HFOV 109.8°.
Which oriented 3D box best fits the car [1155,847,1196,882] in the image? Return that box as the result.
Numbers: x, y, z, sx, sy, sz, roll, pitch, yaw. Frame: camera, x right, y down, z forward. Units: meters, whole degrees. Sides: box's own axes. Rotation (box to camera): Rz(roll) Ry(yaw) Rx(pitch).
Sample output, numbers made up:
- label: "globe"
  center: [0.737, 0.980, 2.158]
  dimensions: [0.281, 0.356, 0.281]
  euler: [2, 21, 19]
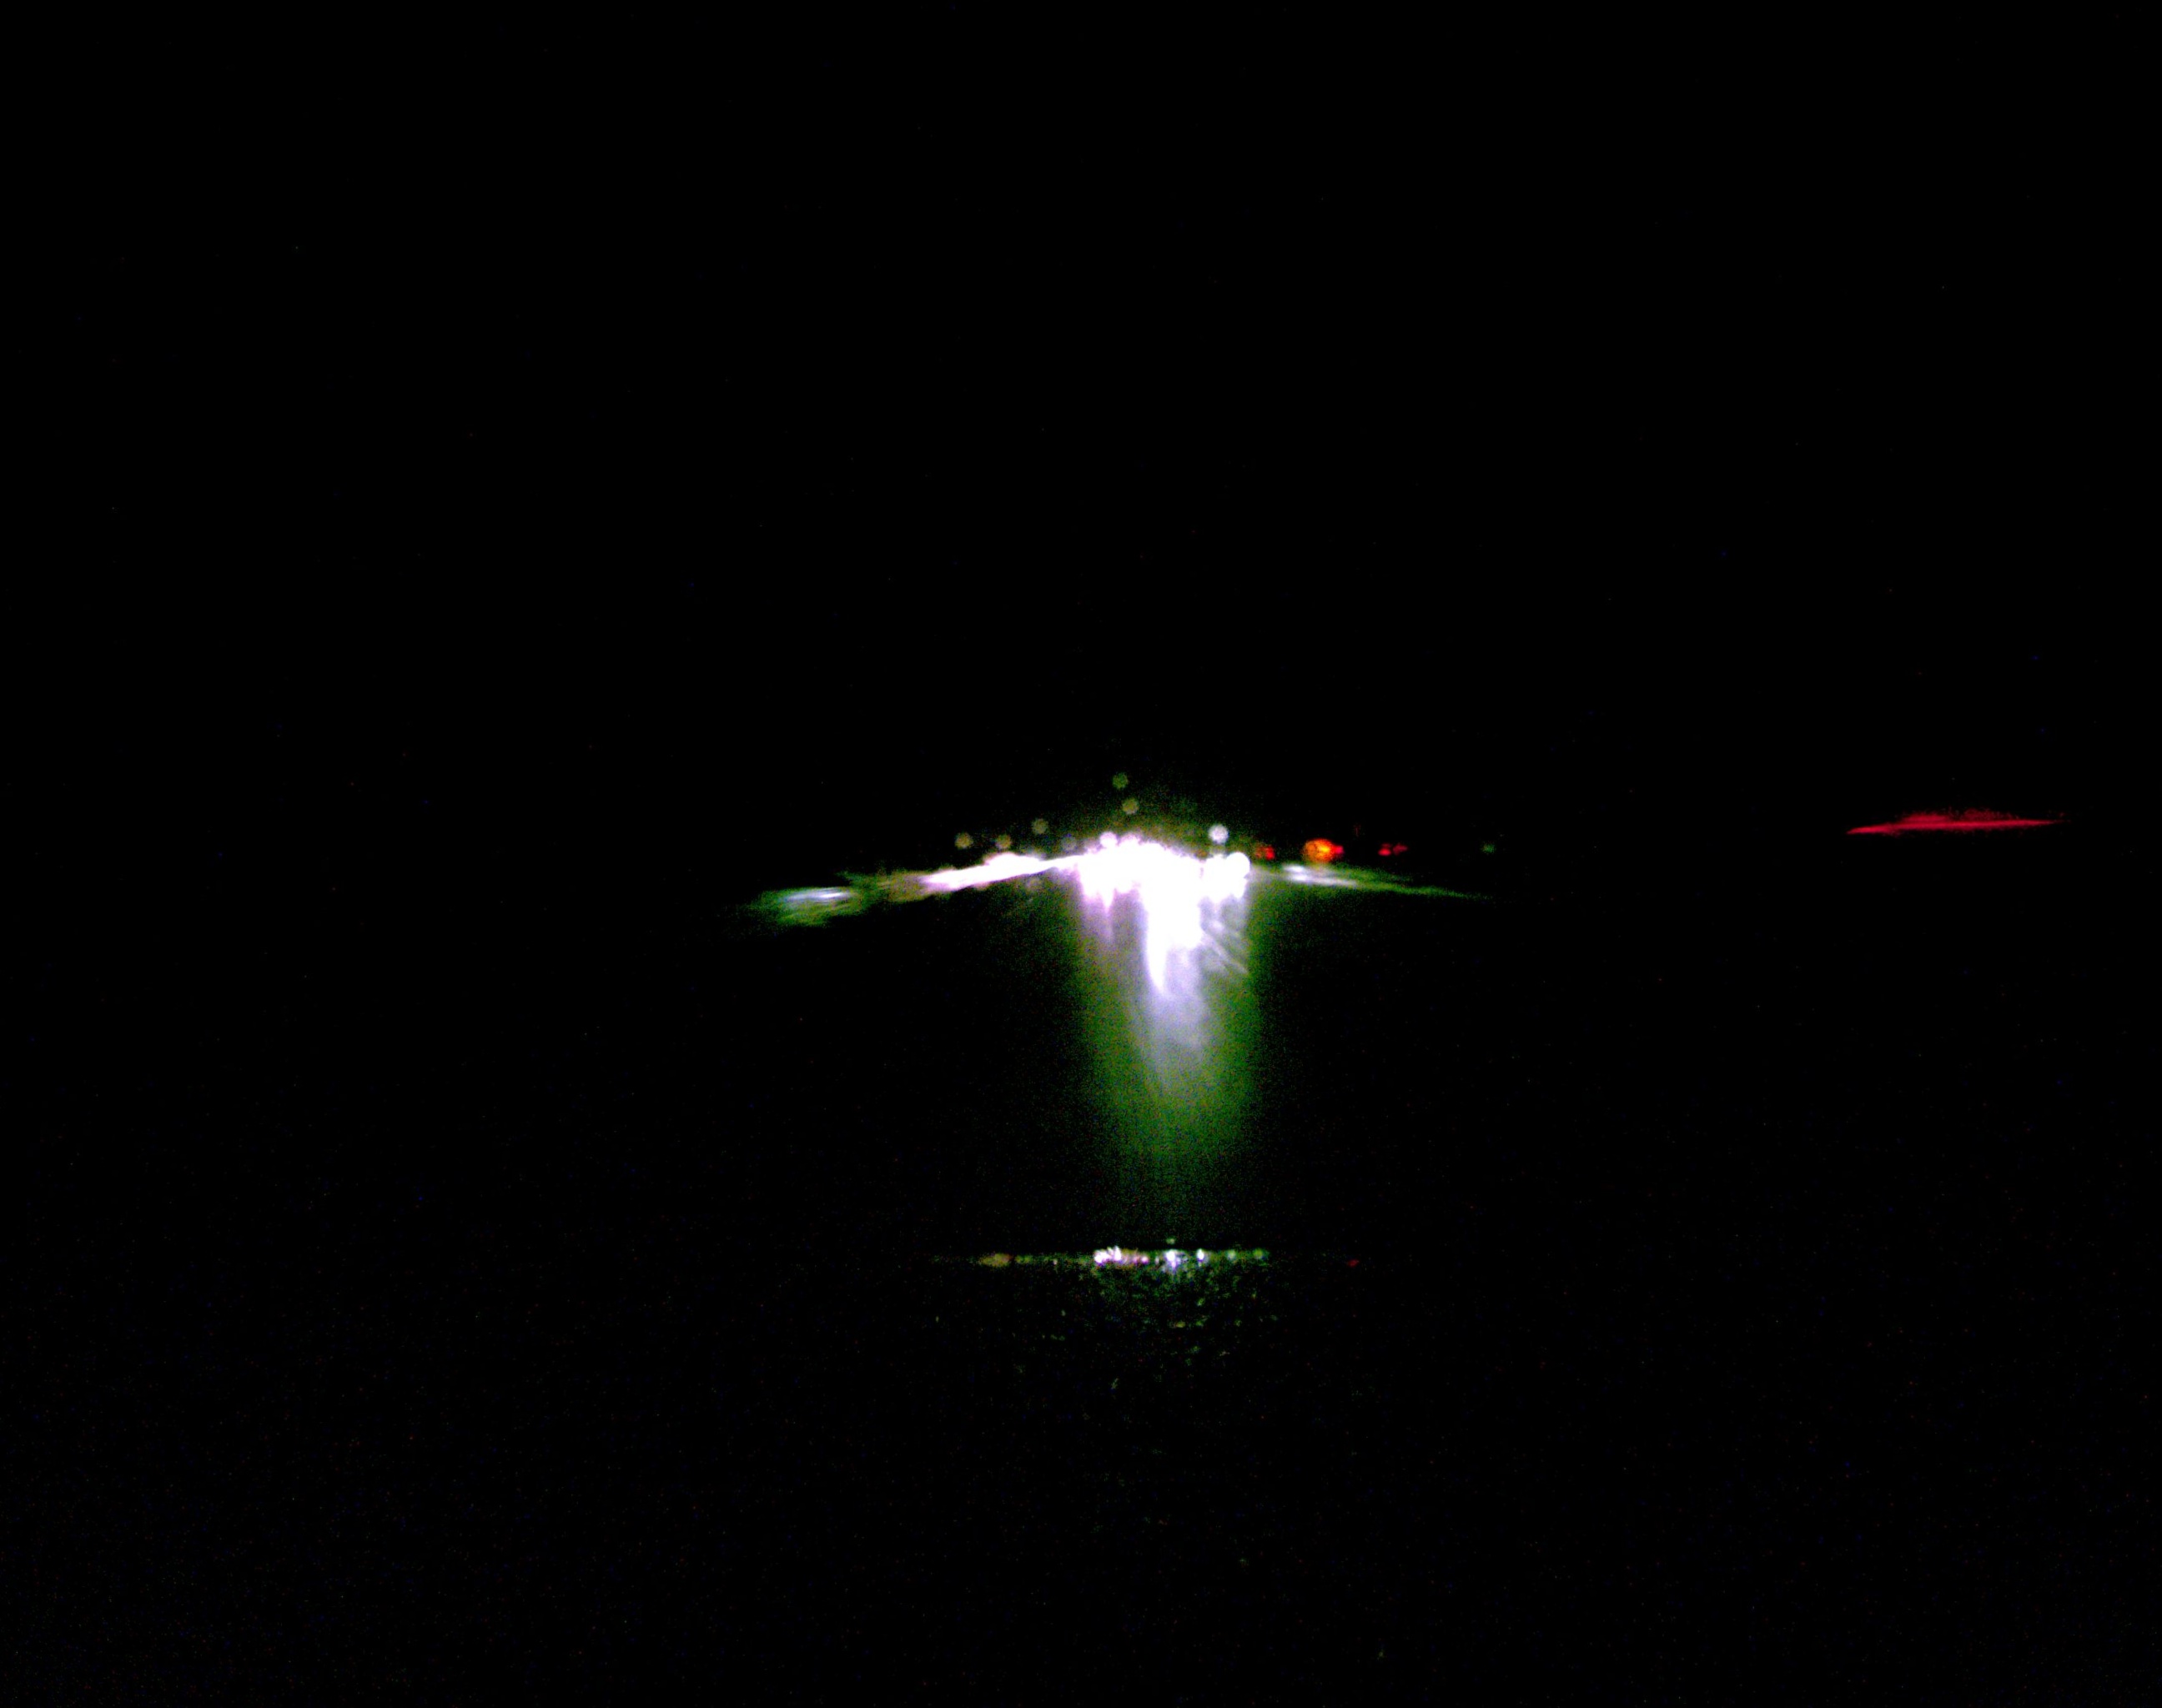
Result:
- label: "car"
  center: [4.987, 0.523, 40.402]
  dimensions: [1.998, 1.667, 4.001]
  euler: [-2, 1, 6]

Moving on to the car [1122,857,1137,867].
- label: "car"
  center: [6.199, 1.015, 97.117]
  dimensions: [1.693, 1.149, 3.420]
  euler: [-3, 1, 2]

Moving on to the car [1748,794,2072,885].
- label: "car"
  center: [15.913, -0.266, 14.976]
  dimensions: [1.977, 1.456, 3.999]
  euler: [-3, 1, -1]

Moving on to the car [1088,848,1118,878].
- label: "car"
  center: [1.681, 0.637, 56.720]
  dimensions: [1.998, 2.002, 4.000]
  euler: [-2, 1, 3]

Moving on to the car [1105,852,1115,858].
- label: "car"
  center: [6.265, 0.127, 162.562]
  dimensions: [1.998, 1.149, 4.001]
  euler: [-2, 1, 5]

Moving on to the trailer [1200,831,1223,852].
- label: "trailer"
  center: [35.603, -3.432, 207.622]
  dimensions: [4.177, 5.413, 13.748]
  euler: [-2, 1, 3]

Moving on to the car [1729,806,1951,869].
- label: "car"
  center: [20.297, -0.417, 20.607]
  dimensions: [1.977, 1.456, 3.999]
  euler: [-3, 1, -1]

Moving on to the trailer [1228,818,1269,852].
- label: "trailer"
  center: [27.976, -3.102, 127.307]
  dimensions: [4.350, 5.111, 8.996]
  euler: [-6, 0, 0]

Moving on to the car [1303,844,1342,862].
- label: "car"
  center: [22.088, -0.111, 69.811]
  dimensions: [1.977, 1.456, 4.898]
  euler: [-4, 0, 1]

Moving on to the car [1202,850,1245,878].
- label: "car"
  center: [9.036, 0.593, 48.487]
  dimensions: [2.309, 1.600, 3.872]
  euler: [-2, 1, 5]

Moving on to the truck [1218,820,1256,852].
- label: "truck"
  center: [28.026, -3.159, 137.115]
  dimensions: [4.350, 5.111, 10.471]
  euler: [-6, 0, 0]

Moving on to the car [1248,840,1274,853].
- label: "car"
  center: [22.406, -0.886, 94.694]
  dimensions: [1.977, 1.456, 5.369]
  euler: [-4, 0, 1]

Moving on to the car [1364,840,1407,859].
- label: "car"
  center: [25.465, -0.400, 63.693]
  dimensions: [1.884, 1.456, 4.298]
  euler: [-4, 0, 2]

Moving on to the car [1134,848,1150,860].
- label: "car"
  center: [9.608, 0.016, 119.572]
  dimensions: [1.999, 1.745, 3.999]
  euler: [-4, 0, 0]
